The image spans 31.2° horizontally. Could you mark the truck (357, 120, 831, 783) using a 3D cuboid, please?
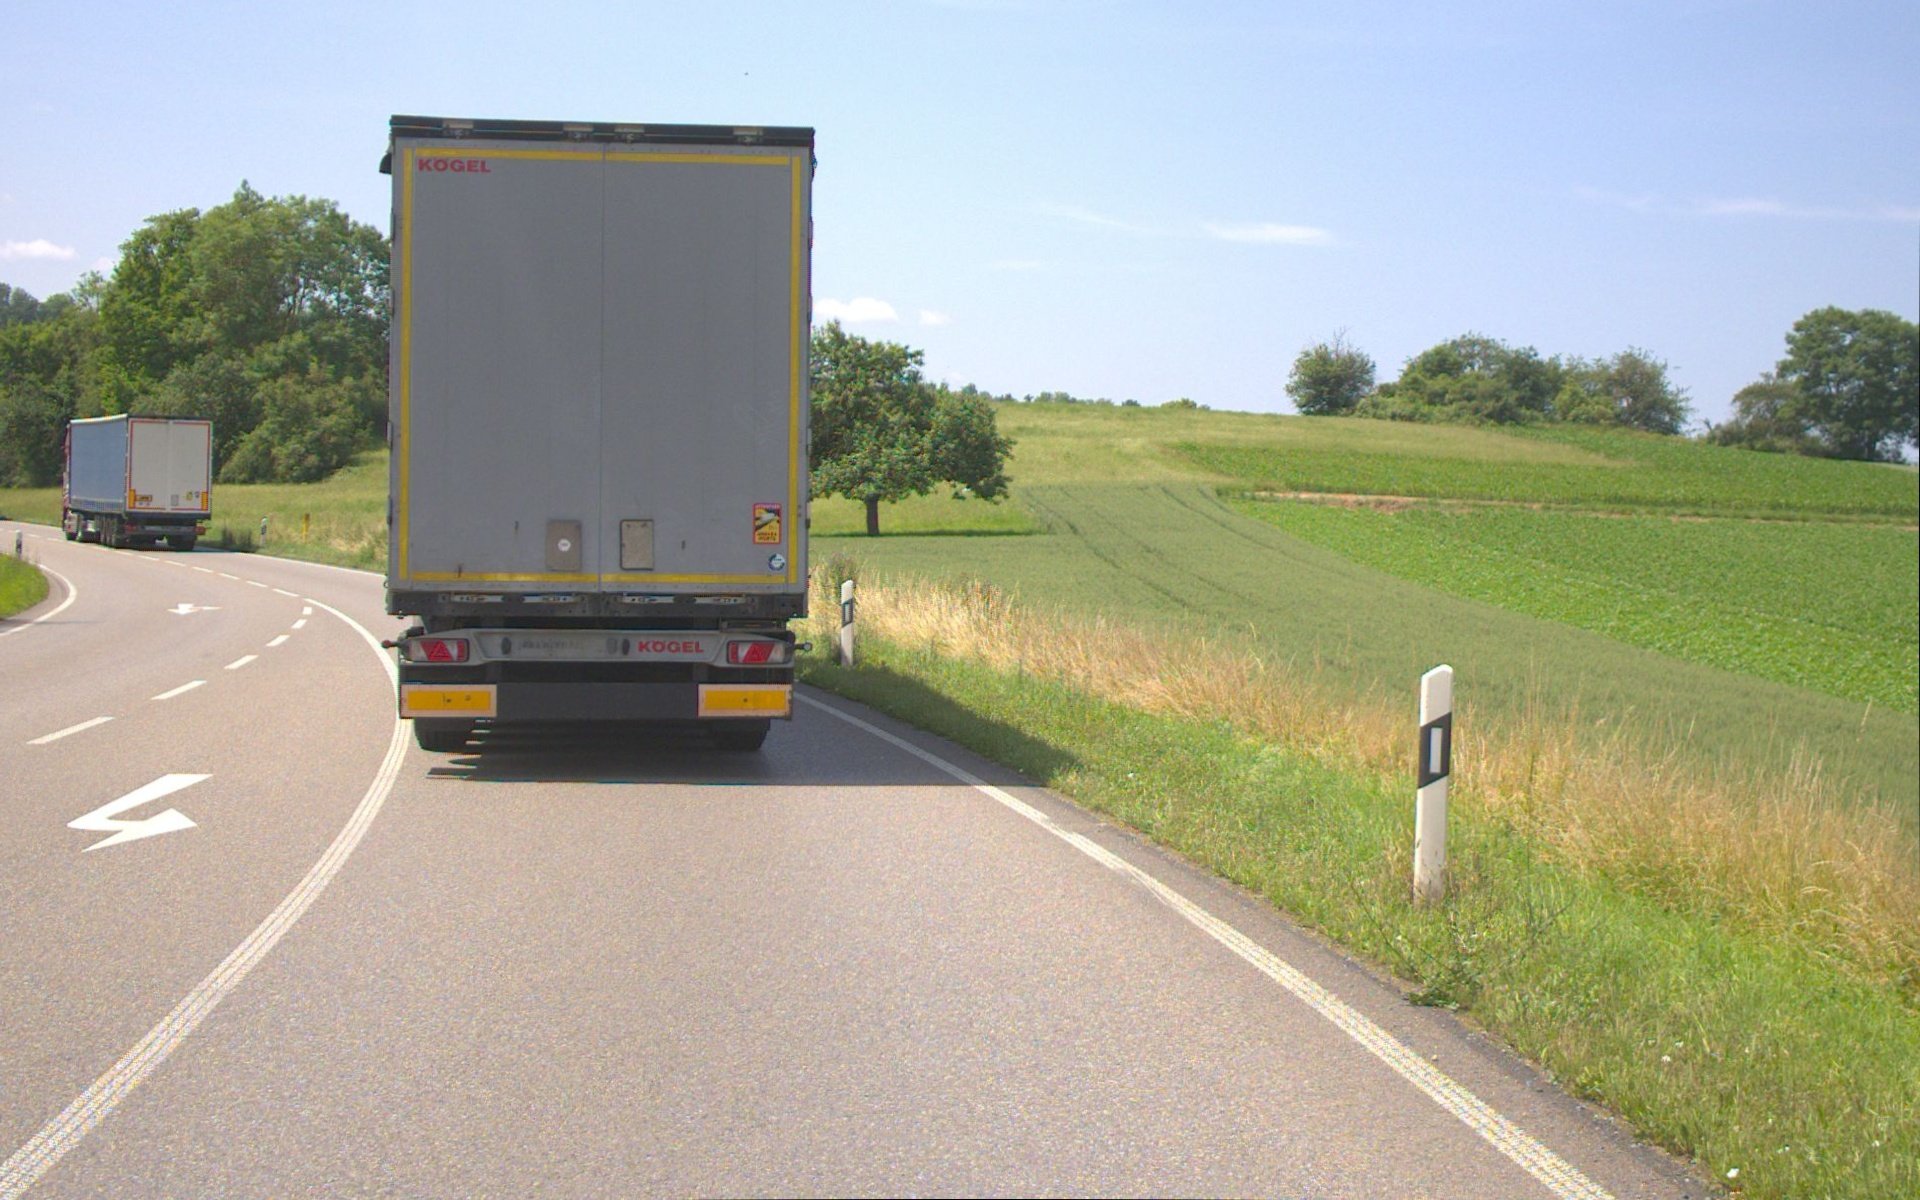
[{"bbox_3d":[-2.810,-1.002,25.355,2.807,3.932,9.593,0,1,-8],"label":"truck"}]

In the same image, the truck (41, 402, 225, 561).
[{"bbox_3d":[-26.497,-3.717,109.384,2.960,4.568,16.321,2,1,-23],"label":"truck"}]
